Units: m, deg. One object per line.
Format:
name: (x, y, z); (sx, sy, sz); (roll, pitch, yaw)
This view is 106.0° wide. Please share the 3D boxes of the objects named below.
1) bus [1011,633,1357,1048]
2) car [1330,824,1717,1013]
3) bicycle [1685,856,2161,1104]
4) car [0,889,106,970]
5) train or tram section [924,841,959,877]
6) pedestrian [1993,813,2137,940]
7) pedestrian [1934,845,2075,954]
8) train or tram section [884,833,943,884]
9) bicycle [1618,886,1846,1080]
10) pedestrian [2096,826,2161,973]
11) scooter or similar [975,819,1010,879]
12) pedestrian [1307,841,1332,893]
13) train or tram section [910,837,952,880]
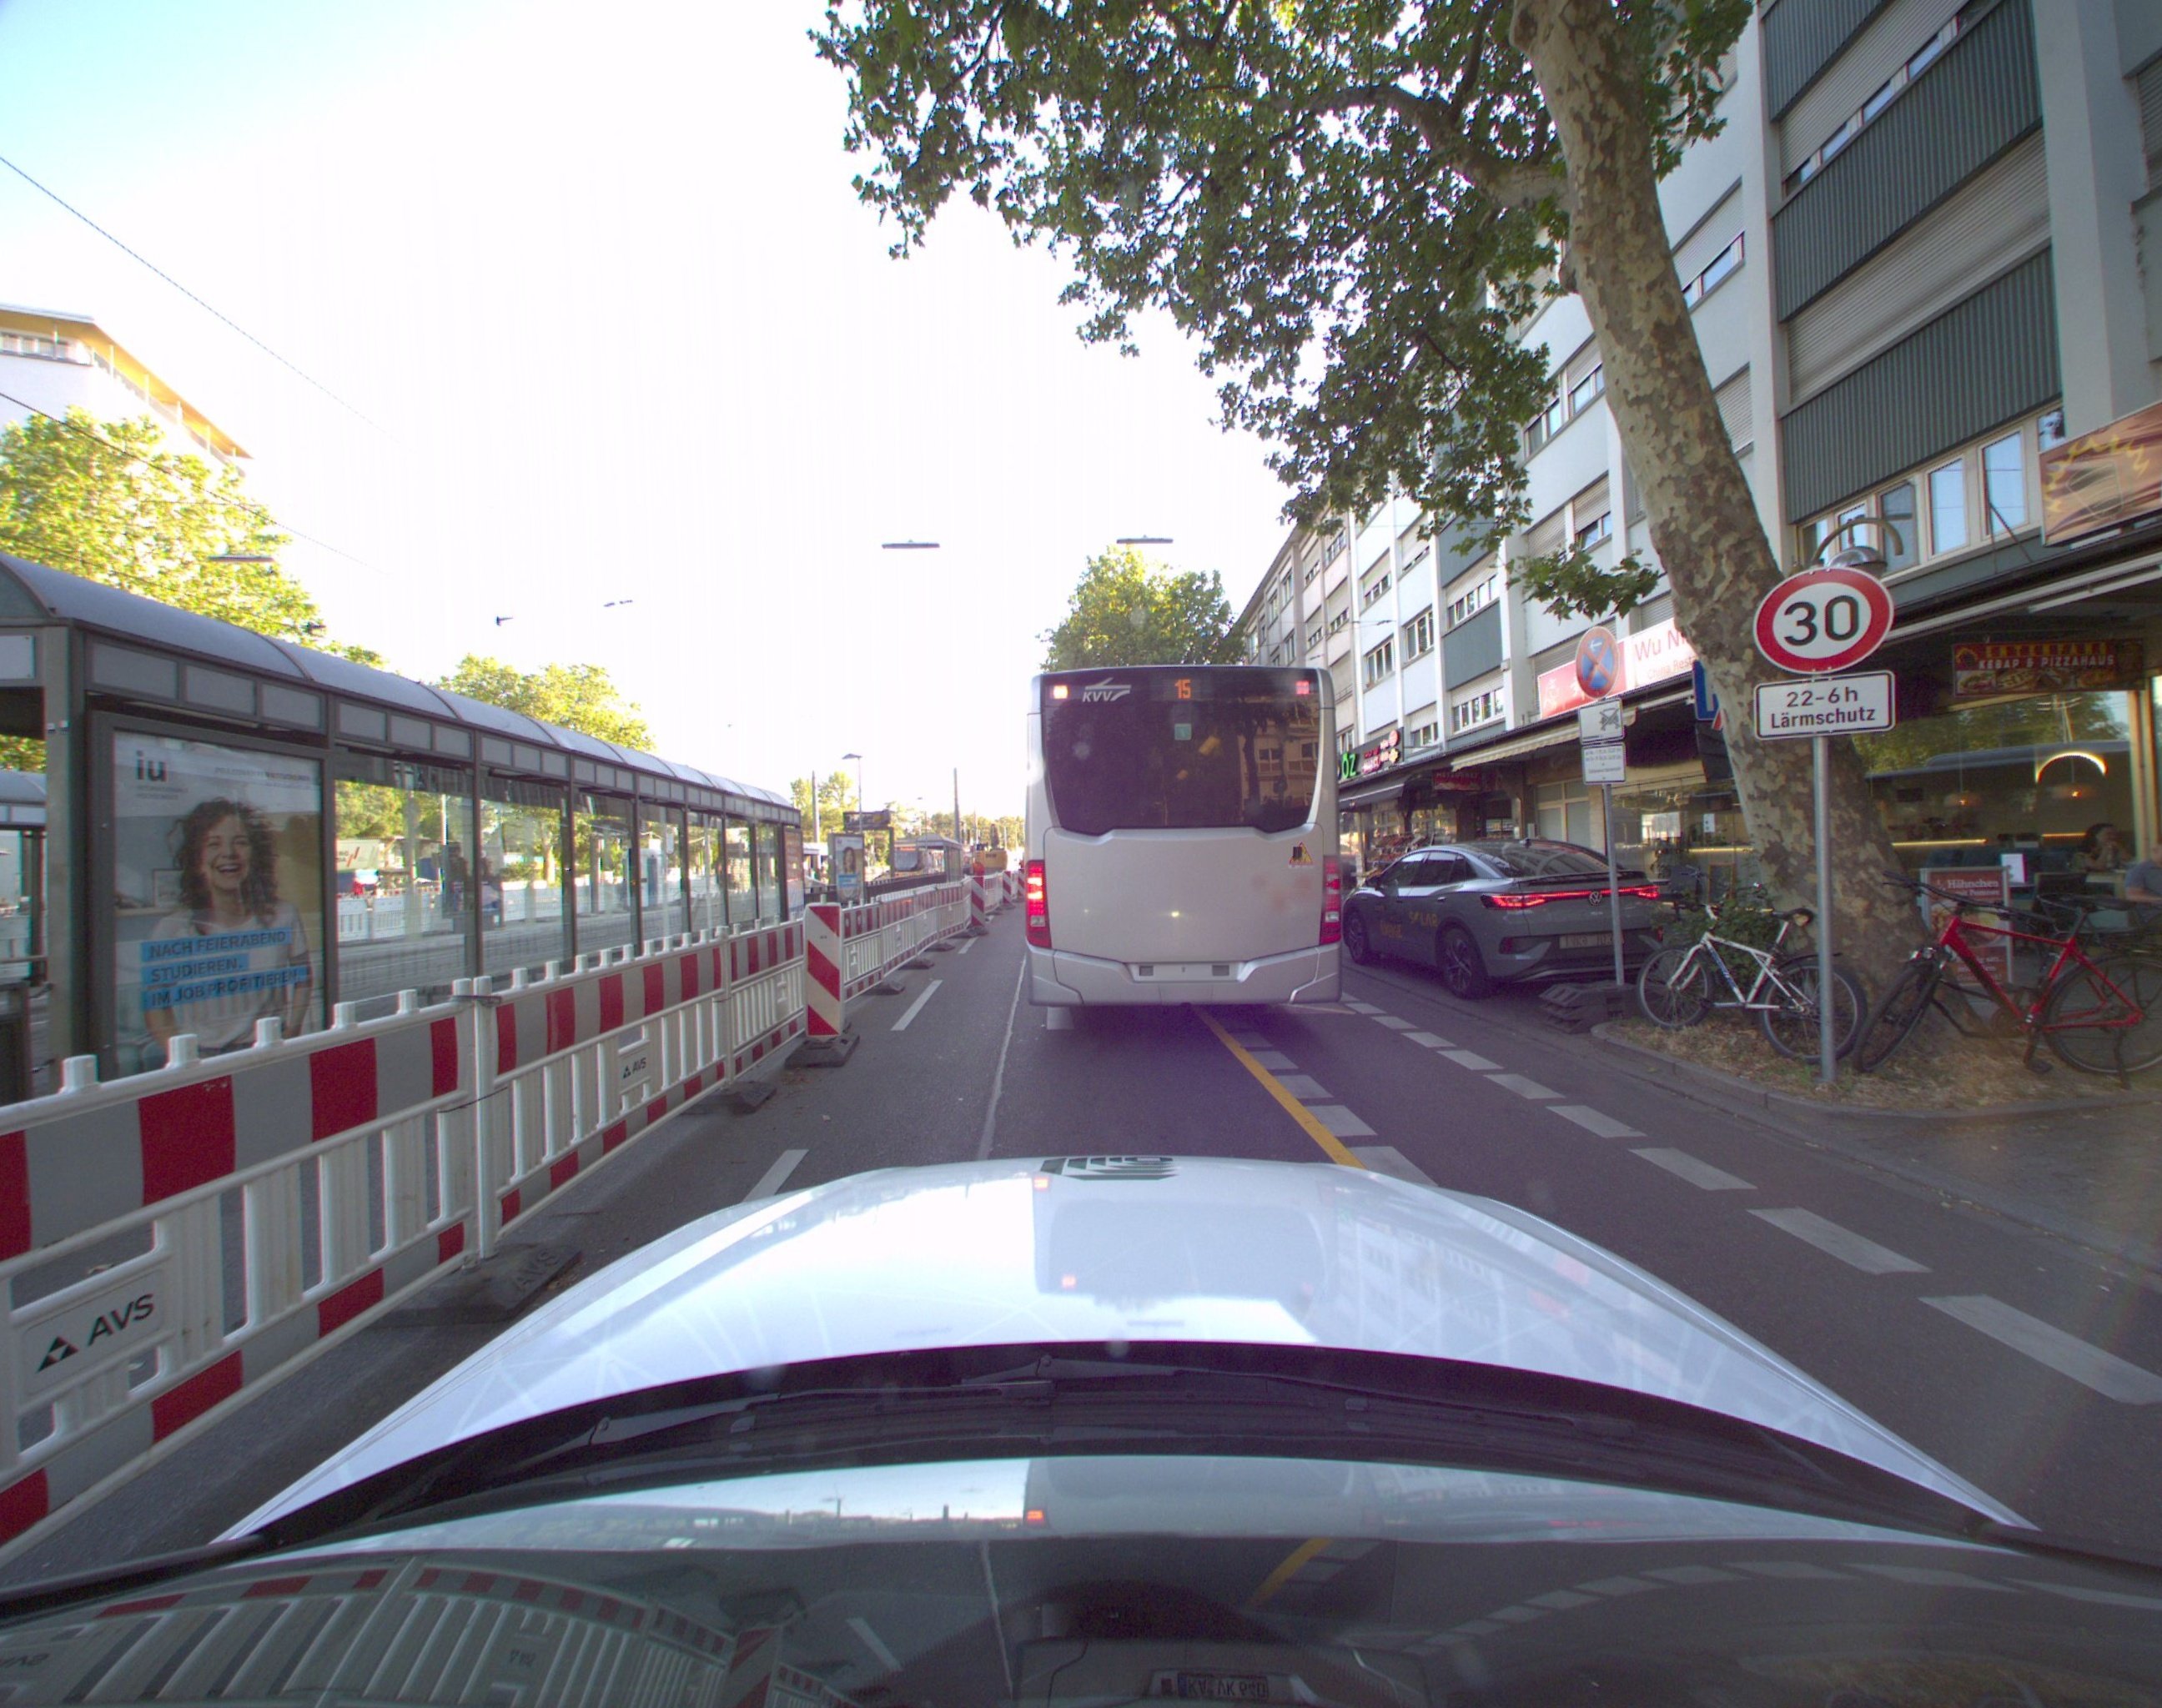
bus: (0.905, -0.076, 10.150); (2.601, 3.126, 7.996); (0, 0, 2)
car: (4.736, 0.585, 9.643); (1.989, 1.582, 4.364); (-4, 0, -3)
bicycle: (5.041, 0.725, 4.690); (2.370, 1.155, 0.557); (-7, -2, 14)
car: (-24.012, 1.663, 17.214); (1.988, 1.662, 3.997); (-2, -1, -1)
train or tram section: (-14.357, 0.555, 84.680); (2.683, 3.533, 11.558); (0, -1, -6)
pedestrian: (11.069, 0.240, 9.187); (0.836, 1.333, 0.963); (-1, -1, -39)
pedestrian: (9.847, 0.464, 8.696); (0.643, 1.081, 0.945); (-1, -1, -39)
train or tram section: (-12.450, 0.372, 61.689); (2.681, 3.534, 11.756); (0, -1, -3)
bicycle: (4.558, 0.841, 5.832); (0.550, 1.155, 1.446); (-2, -1, 6)
pedestrian: (9.599, 0.387, 7.107); (0.555, 1.245, 0.692); (-4, 0, 8)
scooter or similar: (-6.979, -0.326, 64.718); (2.465, 4.471, 5.961); (-2, -1, -5)
pedestrian: (7.861, 0.434, 26.799); (0.658, 1.667, 0.603); (-4, -1, 18)
train or tram section: (-13.362, 0.422, 73.193); (2.682, 3.558, 11.559); (0, -1, -5)
